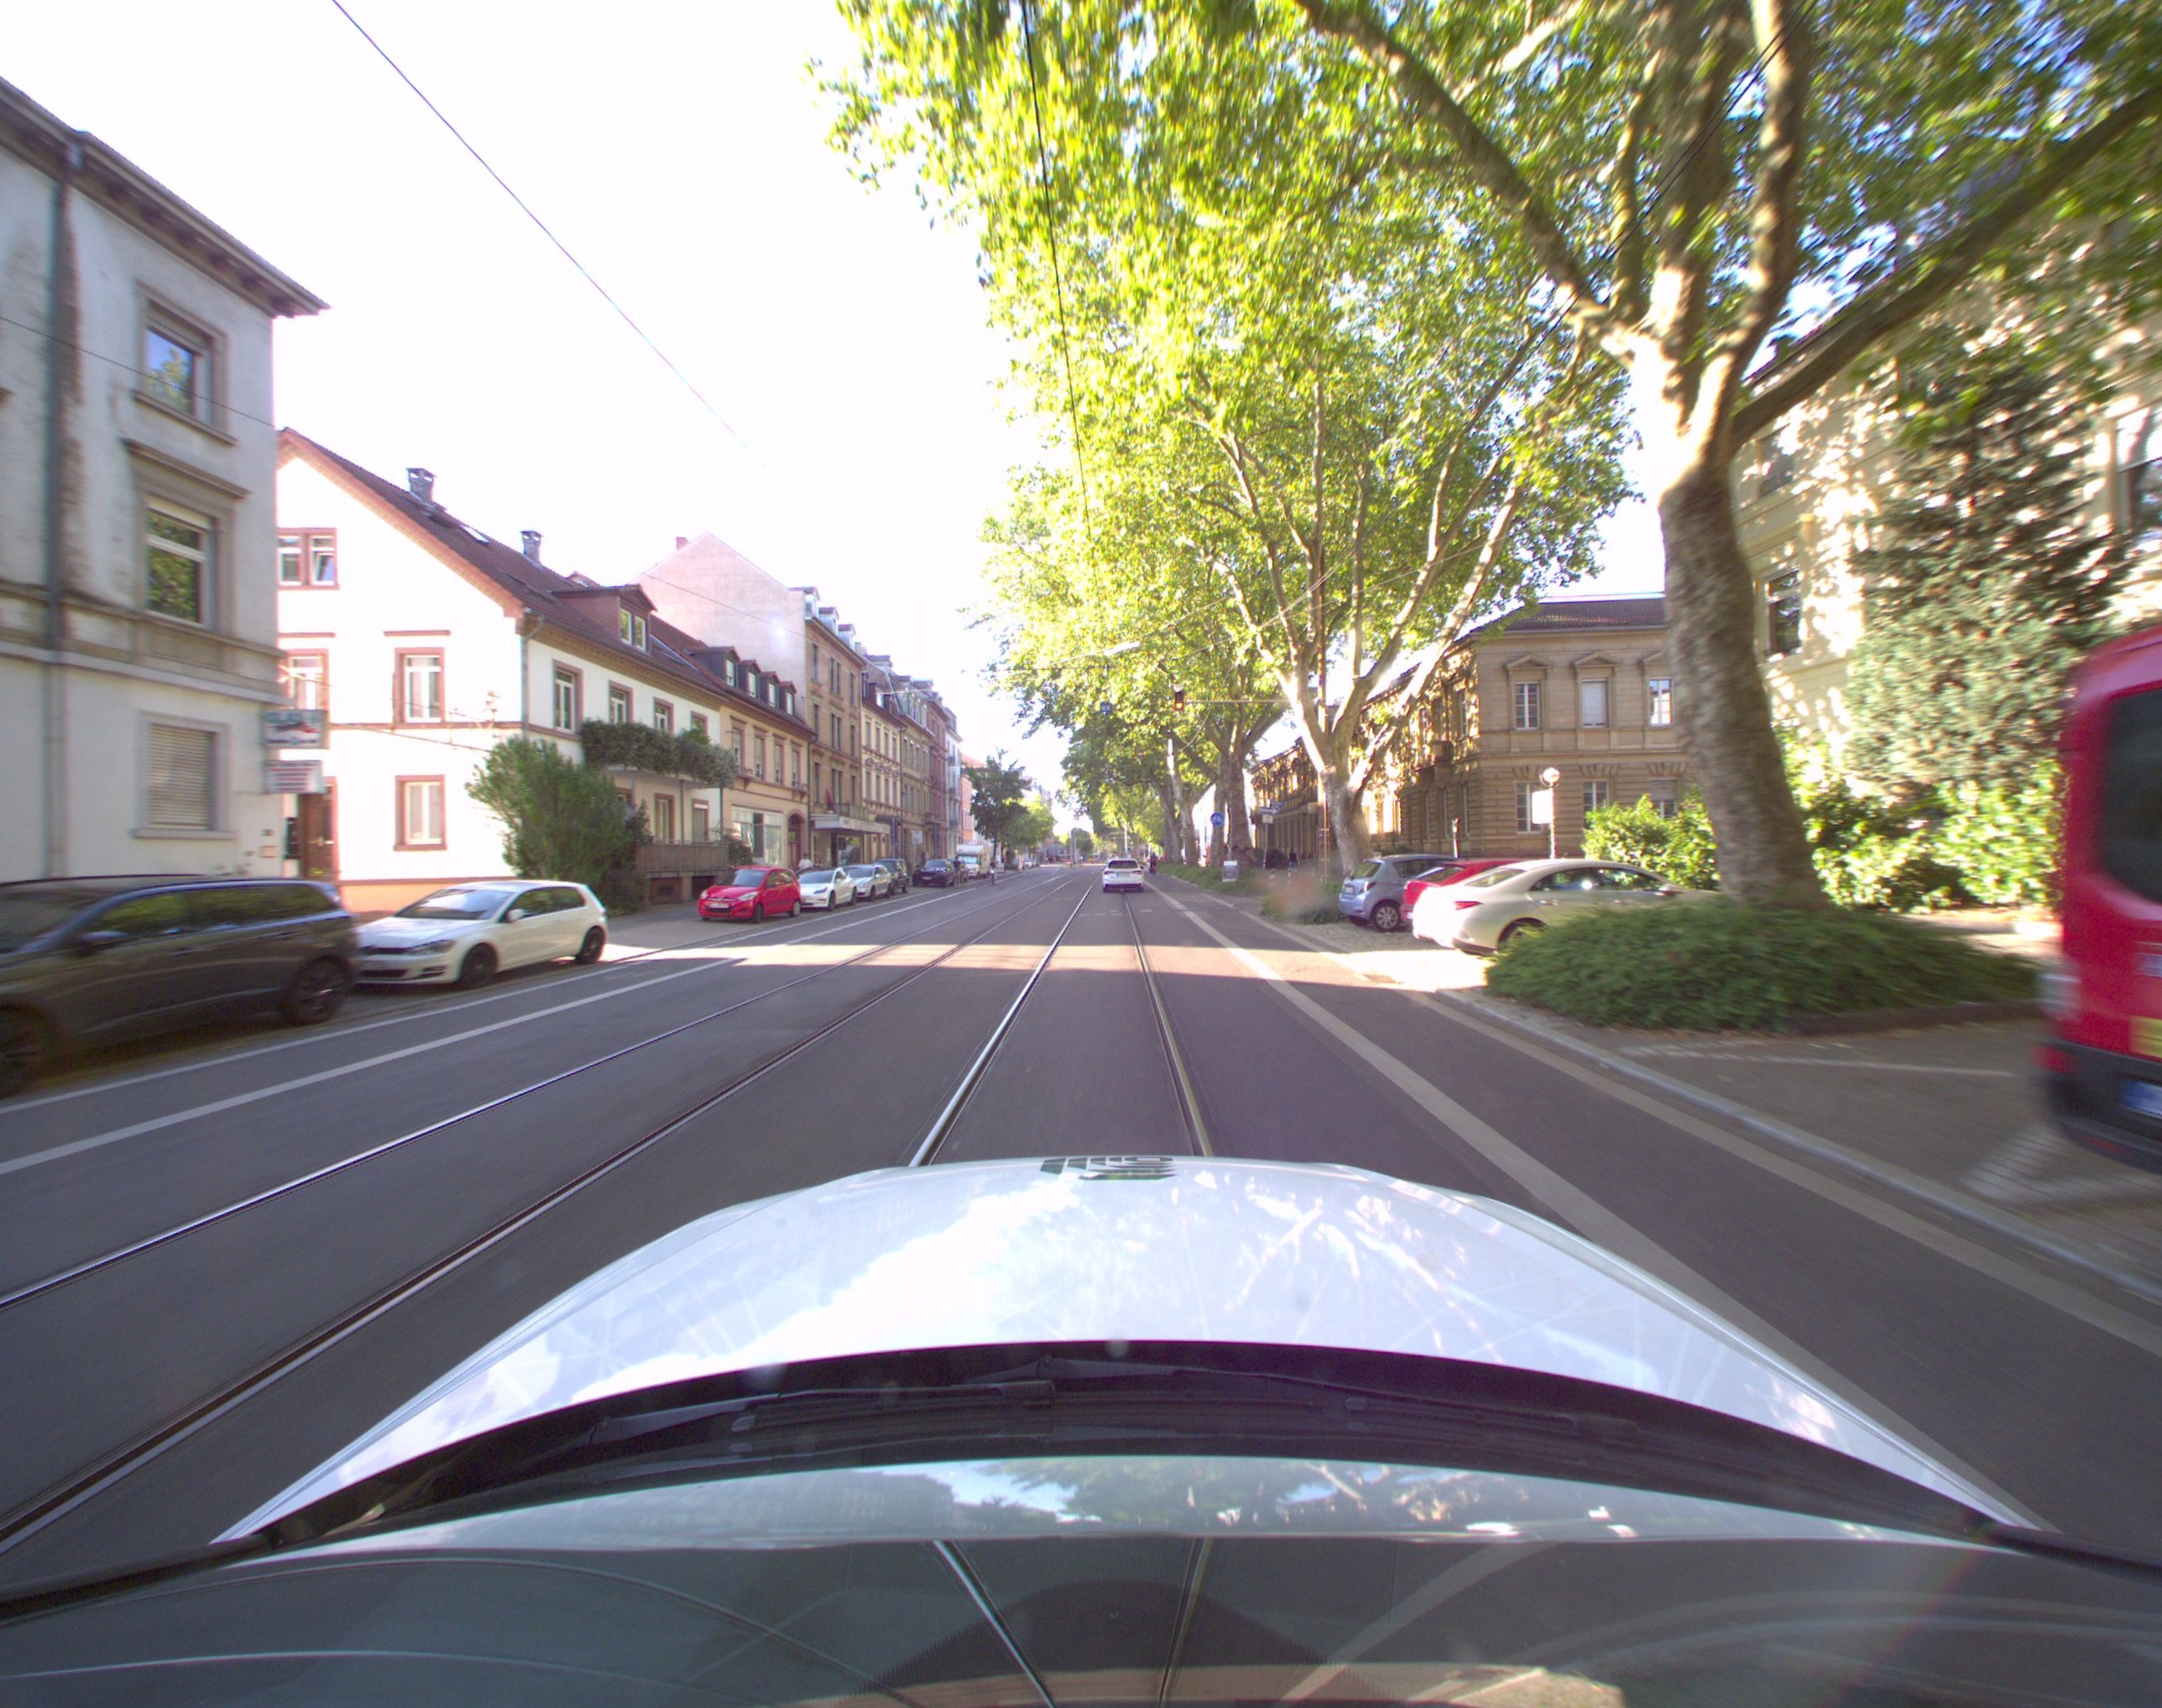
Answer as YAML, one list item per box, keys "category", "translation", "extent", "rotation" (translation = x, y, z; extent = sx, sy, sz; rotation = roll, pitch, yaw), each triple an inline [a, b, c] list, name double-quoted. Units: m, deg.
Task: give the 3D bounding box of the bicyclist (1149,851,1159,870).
- category: "bicyclist"
  translation: [5.164, 0.479, 57.592]
  extent: [0.676, 1.339, 0.525]
  rotation: [0, -1, 1]

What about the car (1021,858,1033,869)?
- category: "car"
  translation: [-8.674, 1.476, 131.205]
  extent: [1.788, 1.726, 3.783]
  rotation: [0, 0, 0]

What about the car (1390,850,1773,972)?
- category: "car"
  translation: [6.845, 0.746, 11.501]
  extent: [4.269, 1.417, 1.761]
  rotation: [-3, 0, 2]

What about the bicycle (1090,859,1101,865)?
- category: "bicycle"
  translation: [3.204, 1.736, 178.968]
  extent: [2.699, 1.327, 0.609]
  rotation: [-1, 0, -34]

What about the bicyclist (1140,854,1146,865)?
- category: "bicyclist"
  translation: [9.288, 0.813, 121.448]
  extent: [0.731, 1.589, 0.589]
  rotation: [-2, -1, 13]

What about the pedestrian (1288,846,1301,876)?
- category: "pedestrian"
  translation: [12.058, 0.386, 45.947]
  extent: [0.642, 1.633, 0.876]
  rotation: [0, -1, 20]

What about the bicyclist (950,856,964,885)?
- category: "bicyclist"
  translation: [-7.166, 0.934, 47.190]
  extent: [0.533, 1.634, 0.897]
  rotation: [-3, -1, 3]

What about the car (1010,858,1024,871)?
- category: "car"
  translation: [-8.488, 1.385, 108.491]
  extent: [1.636, 1.726, 3.783]
  rotation: [0, 0, 0]

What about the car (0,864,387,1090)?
- category: "car"
  translation: [-9.318, 0.982, 7.612]
  extent: [1.853, 1.703, 4.652]
  rotation: [-1, 0, -4]

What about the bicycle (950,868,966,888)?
- category: "bicycle"
  translation: [-7.124, 1.385, 47.153]
  extent: [0.482, 1.047, 2.041]
  rotation: [-3, 0, 3]

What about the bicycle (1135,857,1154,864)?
- category: "bicycle"
  translation: [9.507, 0.967, 121.364]
  extent: [2.749, 0.999, 0.595]
  rotation: [0, -1, 15]

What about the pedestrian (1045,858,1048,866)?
- category: "pedestrian"
  translation: [-7.381, 1.702, 174.206]
  extent: [0.510, 1.546, 0.463]
  rotation: [0, -1, 1]

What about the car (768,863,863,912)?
- category: "car"
  translation: [-9.139, 1.101, 28.457]
  extent: [1.822, 1.502, 4.686]
  rotation: [0, 0, -1]

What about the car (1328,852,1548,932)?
- category: "car"
  translation: [7.148, 0.732, 16.572]
  extent: [3.738, 1.508, 1.682]
  rotation: [-1, 0, 1]

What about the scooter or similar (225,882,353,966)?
- category: "scooter or similar"
  translation: [-13.282, 1.137, 13.719]
  extent: [0.444, 1.280, 1.579]
  rotation: [-1, 0, 9]

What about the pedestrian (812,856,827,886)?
- category: "pedestrian"
  translation: [-12.547, 0.807, 39.063]
  extent: [0.636, 1.460, 0.654]
  rotation: [0, -1, -15]

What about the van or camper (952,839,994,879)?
- category: "van or camper"
  translation: [-8.942, 0.424, 68.050]
  extent: [2.207, 3.140, 7.118]
  rotation: [0, 0, 3]

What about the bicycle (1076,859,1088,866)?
- category: "bicycle"
  translation: [0.241, 1.853, 176.871]
  extent: [2.699, 1.327, 0.609]
  rotation: [-1, 0, -34]

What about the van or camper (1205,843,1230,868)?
- category: "van or camper"
  translation: [13.825, 0.161, 82.661]
  extent: [2.019, 2.464, 5.112]
  rotation: [0, -1, 3]

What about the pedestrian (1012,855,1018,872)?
- category: "pedestrian"
  translation: [-8.173, 1.166, 100.582]
  extent: [0.598, 2.002, 0.750]
  rotation: [0, -1, 5]

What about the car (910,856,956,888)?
- category: "car"
  translation: [-9.061, 1.070, 50.234]
  extent: [1.958, 1.781, 4.936]
  rotation: [2, 0, -1]

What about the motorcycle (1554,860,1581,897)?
- category: "motorcycle"
  translation: [18.422, 0.896, 30.882]
  extent: [0.490, 1.296, 2.194]
  rotation: [0, 1, 20]

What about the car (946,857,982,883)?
- category: "car"
  translation: [-8.432, 1.134, 58.831]
  extent: [1.958, 1.781, 4.469]
  rotation: [0, 0, 0]

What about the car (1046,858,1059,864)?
- category: "car"
  translation: [-8.953, 2.201, 252.546]
  extent: [3.773, 1.818, 1.807]
  rotation: [0, -1, 7]

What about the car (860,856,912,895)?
- category: "car"
  translation: [-9.146, 0.974, 38.476]
  extent: [1.550, 1.732, 3.685]
  rotation: [0, 0, 0]

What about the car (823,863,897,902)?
- category: "car"
  translation: [-9.112, 1.131, 33.982]
  extent: [1.821, 1.502, 4.449]
  rotation: [0, 0, 0]

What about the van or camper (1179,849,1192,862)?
- category: "van or camper"
  translation: [19.006, 0.243, 148.176]
  extent: [1.986, 2.343, 4.001]
  rotation: [0, -1, 2]

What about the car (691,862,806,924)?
- category: "car"
  translation: [-9.343, 1.052, 23.155]
  extent: [1.562, 1.562, 3.453]
  rotation: [-1, 0, 5]

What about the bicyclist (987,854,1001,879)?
- category: "bicyclist"
  translation: [-5.286, 0.748, 49.579]
  extent: [0.636, 1.503, 1.070]
  rotation: [-2, -1, 2]

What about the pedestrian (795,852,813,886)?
- category: "pedestrian"
  translation: [-13.219, 0.715, 38.844]
  extent: [0.773, 1.634, 0.654]
  rotation: [0, -1, -15]

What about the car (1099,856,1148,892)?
- category: "car"
  translation: [1.775, 0.824, 35.021]
  extent: [1.837, 1.480, 3.836]
  rotation: [0, -1, -1]

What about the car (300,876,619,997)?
- category: "car"
  translation: [-9.359, 1.133, 12.812]
  extent: [1.681, 1.477, 4.258]
  rotation: [0, 0, 1]

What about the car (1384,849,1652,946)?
- category: "car"
  translation: [7.453, 0.704, 14.082]
  extent: [3.745, 1.387, 1.678]
  rotation: [-3, 0, -5]

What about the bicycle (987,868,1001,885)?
- category: "bicycle"
  translation: [-5.303, 1.382, 49.653]
  extent: [0.497, 0.943, 1.923]
  rotation: [-3, 0, 3]

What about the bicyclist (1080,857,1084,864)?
- category: "bicyclist"
  translation: [0.182, 1.478, 176.839]
  extent: [0.635, 1.522, 0.603]
  rotation: [-2, 0, -34]

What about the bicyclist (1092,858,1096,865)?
- category: "bicyclist"
  translation: [2.782, 1.559, 178.688]
  extent: [0.635, 1.522, 0.603]
  rotation: [-2, 0, -34]

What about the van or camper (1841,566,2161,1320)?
- category: "van or camper"
  translation: [6.486, 0.168, 2.722]
  extent: [5.799, 2.519, 2.286]
  rotation: [-3, 0, -2]

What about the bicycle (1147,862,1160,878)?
- category: "bicycle"
  translation: [5.120, 1.122, 57.637]
  extent: [0.677, 1.155, 2.965]
  rotation: [0, 0, 1]
